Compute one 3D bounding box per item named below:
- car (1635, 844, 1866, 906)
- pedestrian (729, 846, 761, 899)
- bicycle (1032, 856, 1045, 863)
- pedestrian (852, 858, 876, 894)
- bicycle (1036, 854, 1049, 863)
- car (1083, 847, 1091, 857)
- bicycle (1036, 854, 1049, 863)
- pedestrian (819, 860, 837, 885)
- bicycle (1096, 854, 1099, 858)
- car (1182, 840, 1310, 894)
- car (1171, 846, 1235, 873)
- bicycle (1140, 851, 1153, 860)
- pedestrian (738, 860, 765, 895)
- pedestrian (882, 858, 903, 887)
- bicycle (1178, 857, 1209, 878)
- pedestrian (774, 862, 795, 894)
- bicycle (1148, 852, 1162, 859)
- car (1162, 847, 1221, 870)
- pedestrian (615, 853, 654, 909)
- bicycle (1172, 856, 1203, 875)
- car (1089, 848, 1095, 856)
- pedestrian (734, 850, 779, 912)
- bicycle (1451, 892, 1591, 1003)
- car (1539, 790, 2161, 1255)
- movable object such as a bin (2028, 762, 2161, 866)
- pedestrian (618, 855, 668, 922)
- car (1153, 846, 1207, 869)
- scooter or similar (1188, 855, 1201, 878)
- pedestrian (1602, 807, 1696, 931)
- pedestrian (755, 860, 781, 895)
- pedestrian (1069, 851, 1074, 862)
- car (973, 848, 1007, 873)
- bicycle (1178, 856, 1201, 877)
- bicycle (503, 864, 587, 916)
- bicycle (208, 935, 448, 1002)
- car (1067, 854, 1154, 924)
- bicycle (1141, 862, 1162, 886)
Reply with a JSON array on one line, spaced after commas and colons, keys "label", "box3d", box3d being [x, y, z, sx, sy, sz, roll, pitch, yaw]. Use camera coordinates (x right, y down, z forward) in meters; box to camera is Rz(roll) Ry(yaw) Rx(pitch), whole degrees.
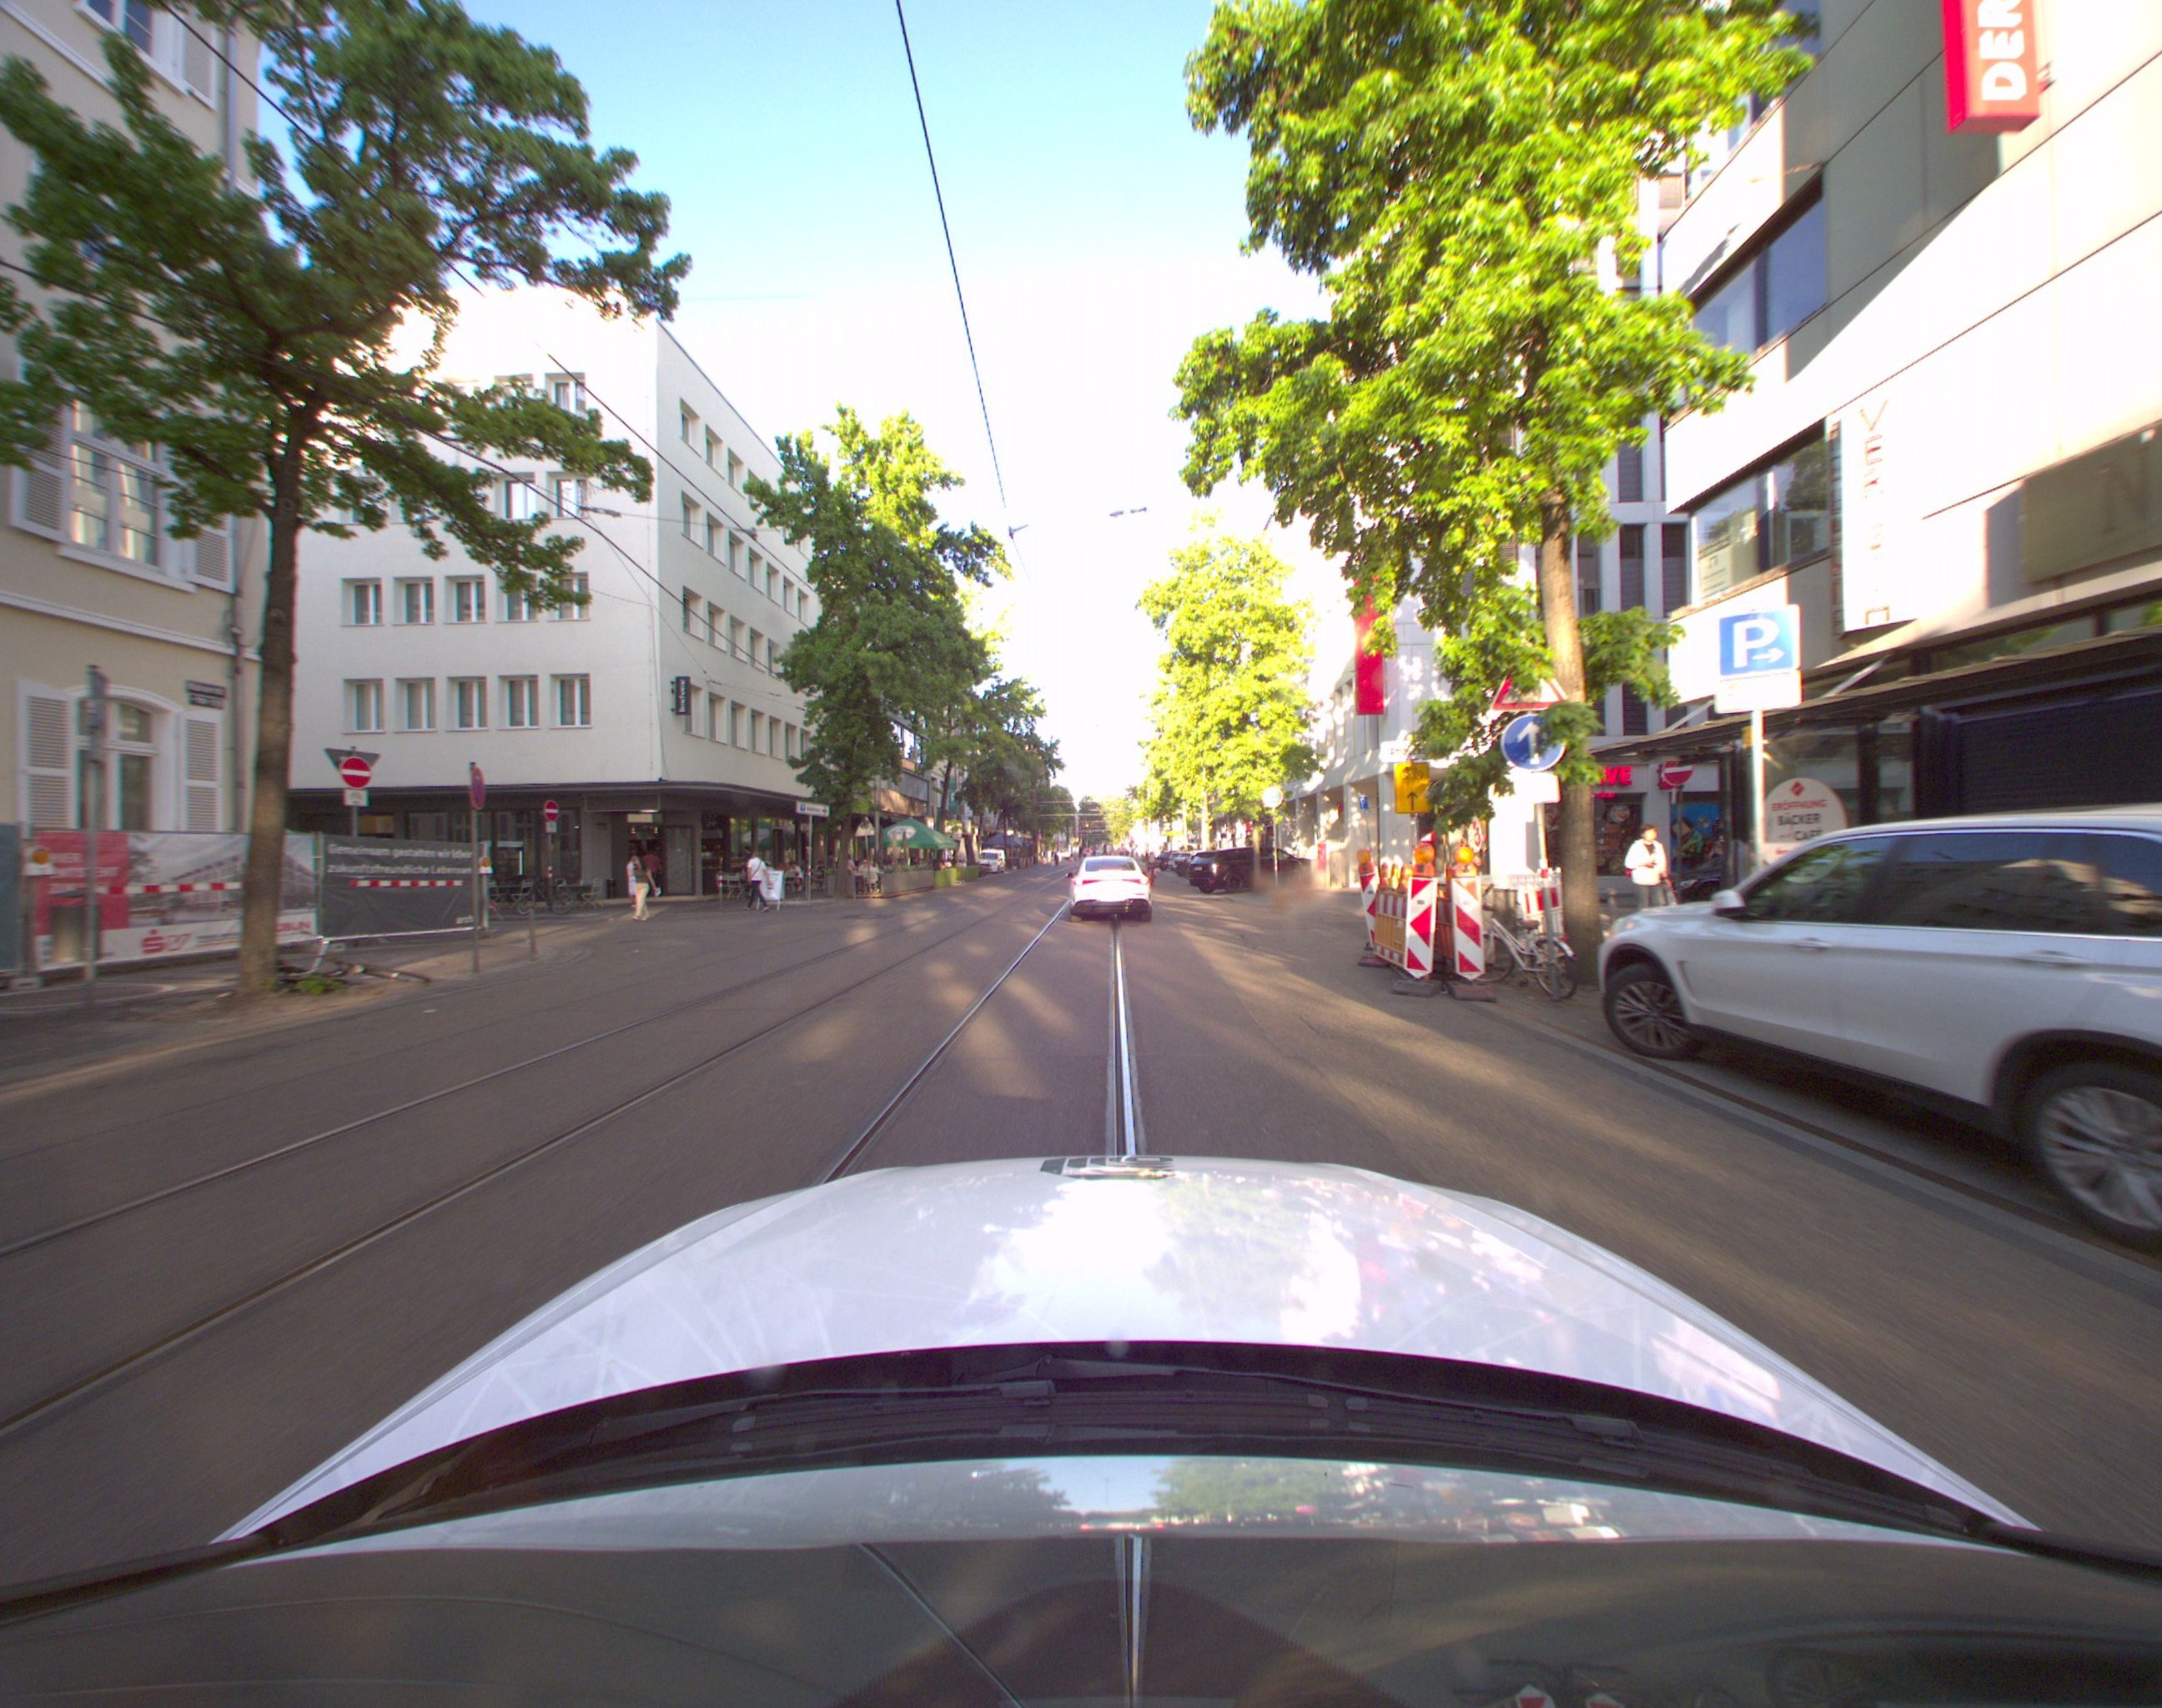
[{"label": "car", "box3d": [16.699, 0.537, 20.468, 4.301, 1.418, 1.796, -1, -2, 0]}, {"label": "pedestrian", "box3d": [-11.707, 0.638, 28.376, 0.679, 1.815, 0.767, 1, 0, 17]}, {"label": "bicycle", "box3d": [-5.550, 0.683, 106.859, 1.586, 0.930, 0.378, 0, 0, 8]}, {"label": "pedestrian", "box3d": [-8.429, 0.837, 31.657, 0.686, 1.386, 0.807, 1, 0, 3]}, {"label": "bicycle", "box3d": [-5.240, 0.607, 110.242, 1.784, 1.077, 0.377, 0, 0, -2]}, {"label": "car", "box3d": [1.846, -0.685, 238.887, 1.985, 2.897, 5.278, -1, 0, 3]}, {"label": "bicycle", "box3d": [-5.218, 0.605, 109.796, 1.784, 1.077, 0.377, 0, 0, -2]}, {"label": "pedestrian", "box3d": [-11.992, 0.892, 38.555, 0.599, 1.158, 0.687, 1, 0, 2]}, {"label": "bicycle", "box3d": [4.198, 0.463, 203.269, 0.797, 1.142, 2.257, 1, 0, 1]}, {"label": "car", "box3d": [6.497, 0.502, 31.970, 4.678, 1.763, 1.977, -4, 0, -27]}, {"label": "car", "box3d": [8.563, 0.387, 57.015, 4.174, 1.571, 1.836, -4, 0, -31]}, {"label": "bicycle", "box3d": [10.300, 0.211, 127.382, 1.908, 1.281, 0.608, -3, 0, -10]}, {"label": "pedestrian", "box3d": [-12.325, 0.860, 30.480, 0.642, 1.269, 0.739, 1, 0, 2]}, {"label": "pedestrian", "box3d": [-8.615, 0.839, 37.246, 0.686, 1.312, 0.807, 1, 0, 3]}, {"label": "bicycle", "box3d": [6.659, 0.793, 48.085, 1.568, 1.088, 0.861, -5, 2, -28]}, {"label": "pedestrian", "box3d": [-11.573, 0.930, 31.817, 0.550, 1.235, 0.687, 1, 0, 2]}, {"label": "bicycle", "box3d": [11.741, 0.259, 129.661, 2.114, 1.096, 0.607, -2, 0, -11]}, {"label": "car", "box3d": [8.771, 0.338, 64.550, 4.262, 1.587, 1.866, -4, 0, -29]}, {"label": "pedestrian", "box3d": [-13.561, 0.805, 24.762, 0.797, 1.614, 0.862, -1, 2, -15]}, {"label": "bicycle", "box3d": [6.826, 0.732, 52.280, 1.901, 1.119, 0.661, -3, -1, -27]}, {"label": "car", "box3d": [3.521, -0.745, 257.486, 1.902, 2.461, 5.278, -1, 0, 3]}, {"label": "pedestrian", "box3d": [-9.407, 0.770, 23.648, 0.789, 1.740, 0.870, -1, 1, 18]}, {"label": "bicycle", "box3d": [4.768, 0.963, 8.972, 0.491, 0.981, 1.930, -1, 0, 0]}, {"label": "car", "box3d": [5.048, 0.577, 4.700, 2.016, 1.737, 4.907, -4, 0, 1]}, {"label": "movable object such as a bin", "box3d": [33.389, -1.171, 23.113, 8.112, 2.910, 2.840, -1, 0, 20]}, {"label": "pedestrian", "box3d": [-11.291, 0.864, 21.024, 0.704, 1.656, 0.968, -1, 1, 3]}, {"label": "car", "box3d": [8.346, 0.310, 68.515, 4.369, 1.652, 1.678, -4, 0, -29]}, {"label": "scooter or similar", "box3d": [6.490, 0.716, 46.530, 0.449, 1.276, 1.307, -5, 0, 1]}, {"label": "pedestrian", "box3d": [9.094, 0.236, 13.082, 0.830, 1.897, 0.919, -2, 0, 4]}, {"label": "pedestrian", "box3d": [-11.669, 0.867, 30.386, 0.624, 1.282, 0.728, 1, 0, 2]}, {"label": "pedestrian", "box3d": [-1.467, 0.371, 127.177, 0.784, 1.801, 0.845, -1, 0, 3]}, {"label": "car", "box3d": [-7.023, 0.484, 63.349, 1.788, 1.864, 4.557, 2, 0, 3]}, {"label": "bicycle", "box3d": [6.699, 0.746, 50.333, 0.475, 1.163, 1.705, -5, 0, 41]}, {"label": "bicycle", "box3d": [-15.091, 1.013, 22.953, 1.866, 1.380, 0.713, -1, 3, 3]}, {"label": "bicycle", "box3d": [-9.166, 1.383, 10.003, 1.787, 0.609, 1.284, 0, 0, 5]}, {"label": "car", "box3d": [0.698, 0.735, 19.311, 1.850, 1.455, 4.177, 0, 0, 2]}, {"label": "bicycle", "box3d": [3.212, 0.893, 36.860, 0.714, 0.995, 2.065, 1, 0, 11]}]
